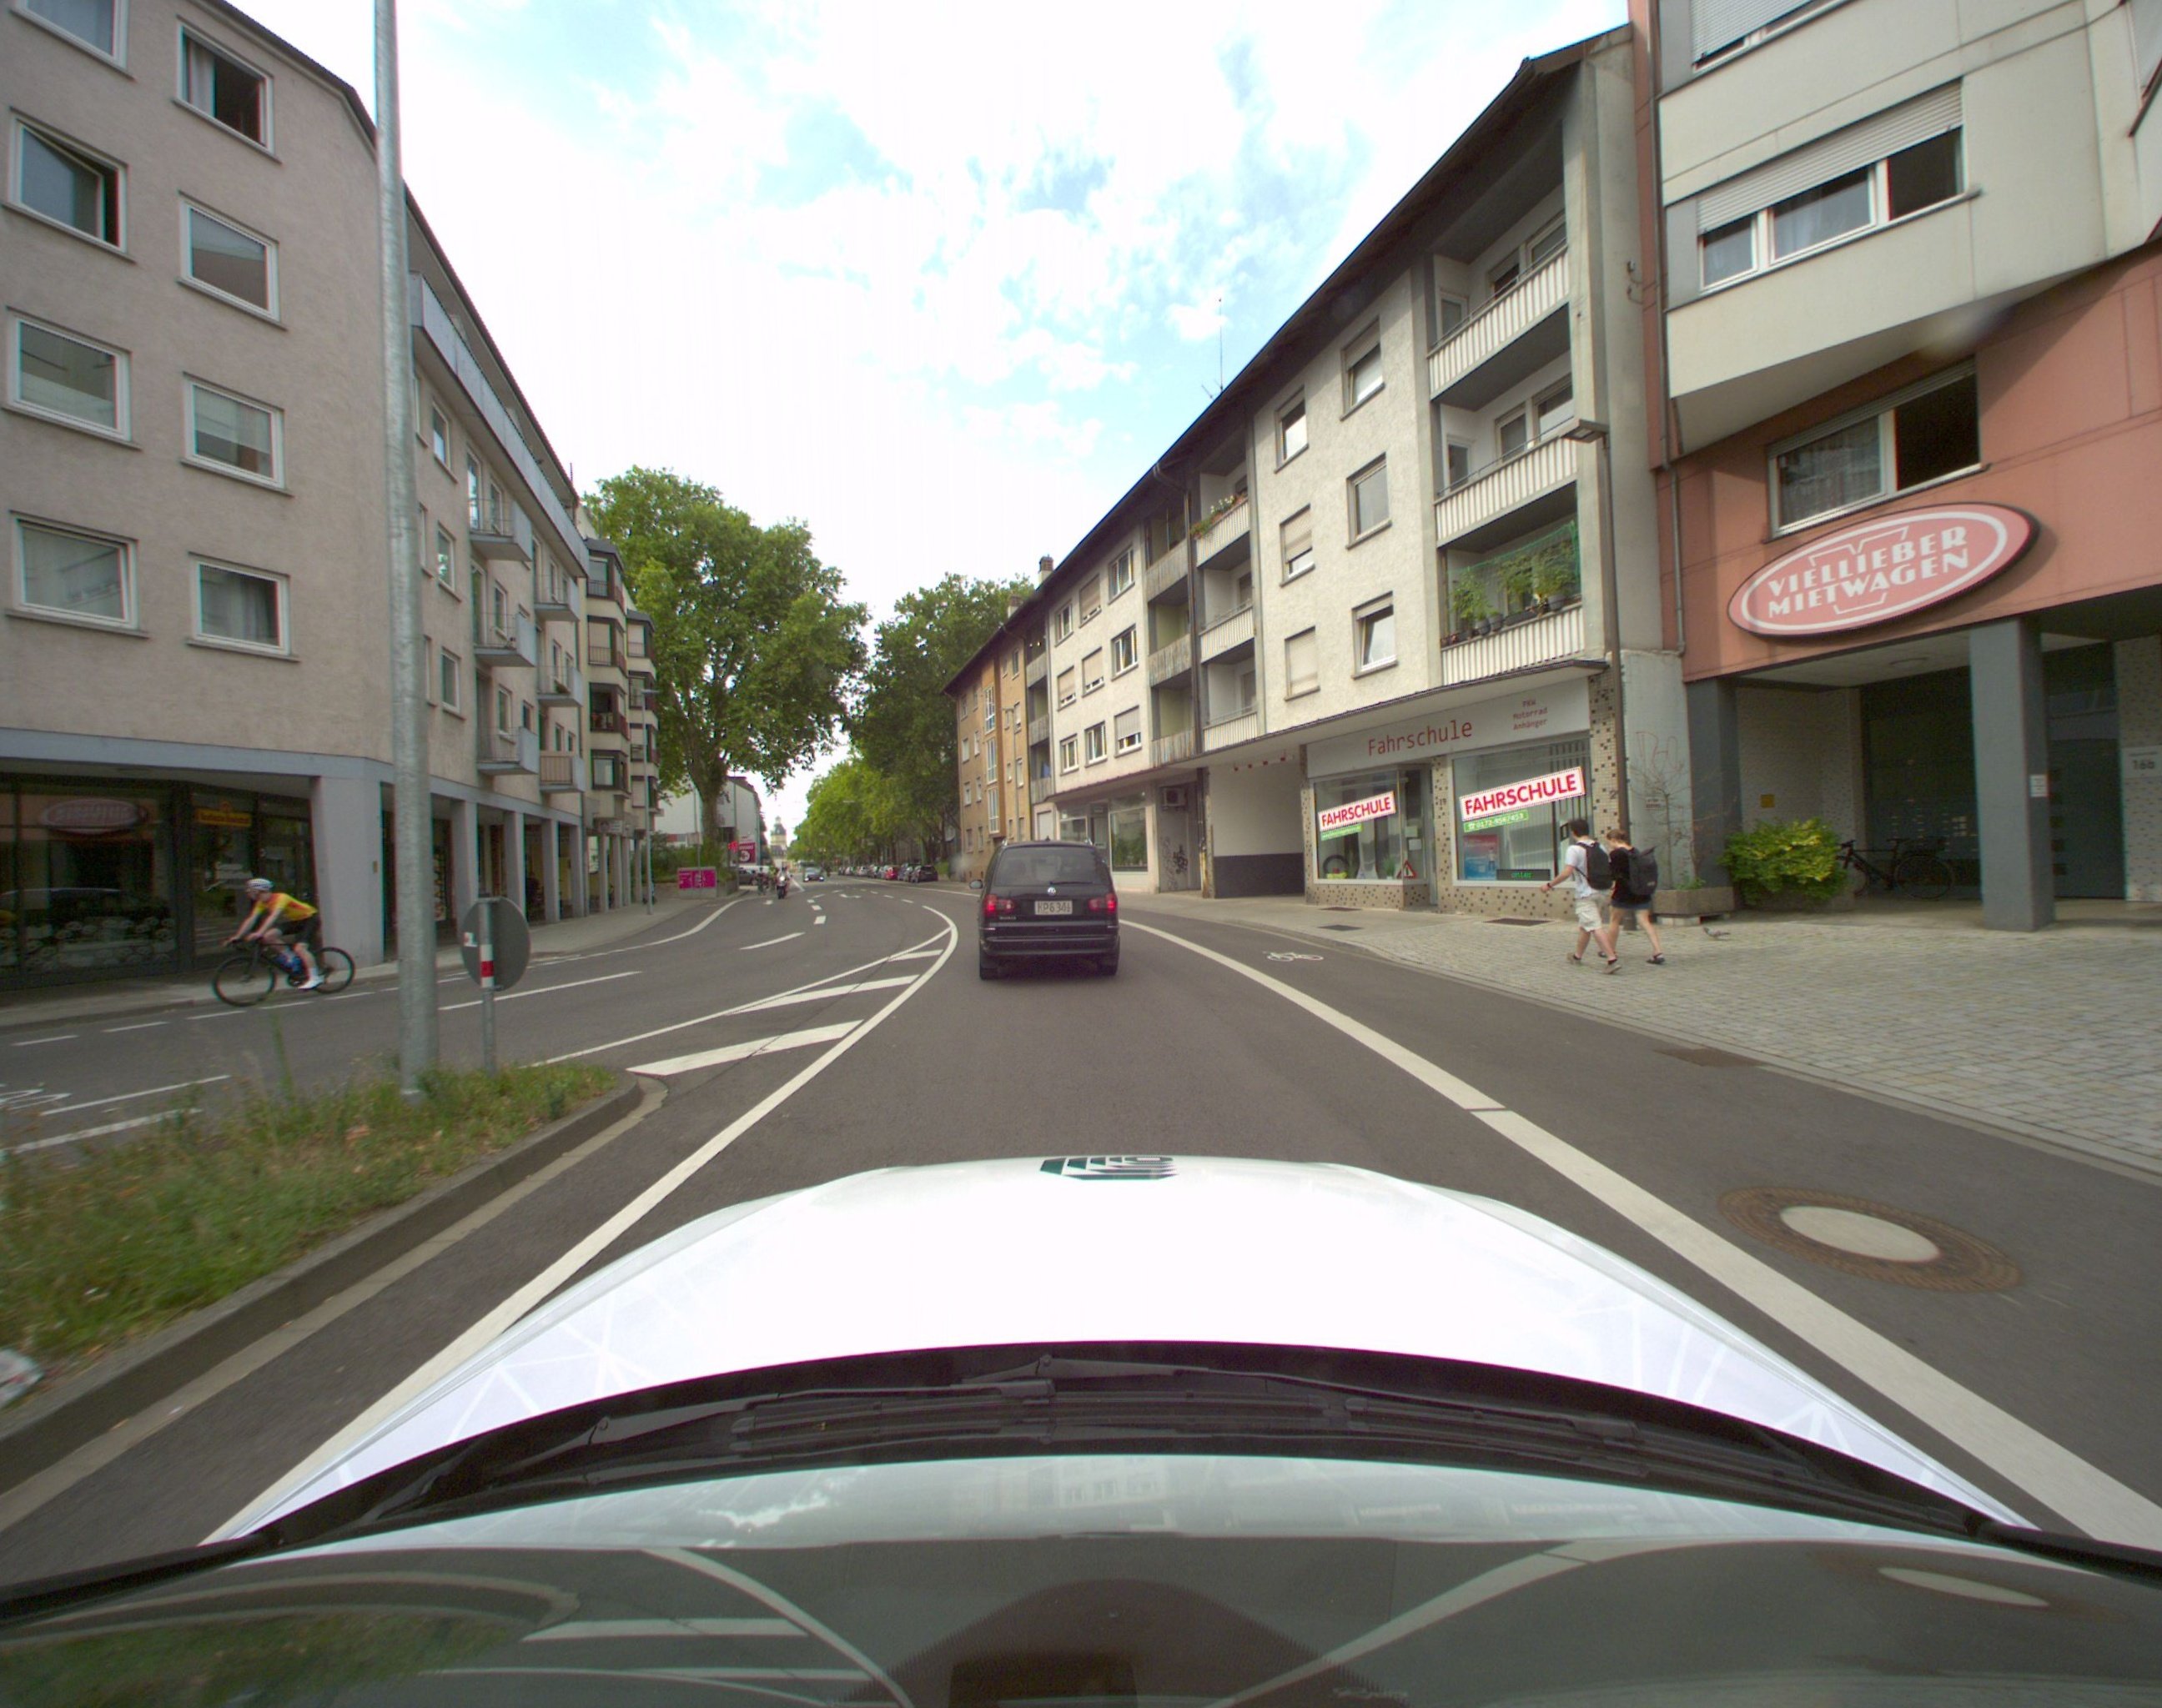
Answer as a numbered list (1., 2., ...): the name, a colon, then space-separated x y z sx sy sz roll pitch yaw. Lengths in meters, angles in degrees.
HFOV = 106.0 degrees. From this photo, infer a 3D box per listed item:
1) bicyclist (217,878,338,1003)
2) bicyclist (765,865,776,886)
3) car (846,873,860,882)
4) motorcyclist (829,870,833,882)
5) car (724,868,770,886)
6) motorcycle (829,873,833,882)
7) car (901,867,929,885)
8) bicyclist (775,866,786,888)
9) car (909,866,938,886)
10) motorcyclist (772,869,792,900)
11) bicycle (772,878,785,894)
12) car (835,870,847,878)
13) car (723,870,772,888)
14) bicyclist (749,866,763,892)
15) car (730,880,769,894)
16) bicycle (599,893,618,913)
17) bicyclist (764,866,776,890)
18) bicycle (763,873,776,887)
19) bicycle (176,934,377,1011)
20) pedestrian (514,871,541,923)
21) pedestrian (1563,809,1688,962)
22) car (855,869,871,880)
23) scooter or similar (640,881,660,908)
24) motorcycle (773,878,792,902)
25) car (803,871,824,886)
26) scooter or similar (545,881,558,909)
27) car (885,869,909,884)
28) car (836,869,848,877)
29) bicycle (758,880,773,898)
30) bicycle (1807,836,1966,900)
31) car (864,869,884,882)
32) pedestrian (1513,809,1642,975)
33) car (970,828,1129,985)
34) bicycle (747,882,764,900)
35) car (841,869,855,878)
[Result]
1. bicyclist: -11.362 1.194 11.538 0.705 1.650 0.977 -3 -1 23
2. bicyclist: -23.551 1.642 61.726 0.658 1.525 1.070 0 0 -16
3. car: -35.405 3.640 126.477 1.649 1.413 3.388 -2 -1 -24
4. motorcyclist: -36.527 3.224 118.833 0.448 1.647 0.516 -2 -1 -20
5. car: -36.412 2.535 89.024 4.541 1.879 2.033 0 -1 -20
6. motorcycle: -36.544 3.441 118.874 0.374 1.350 1.719 -2 -1 -21
7. car: -14.392 1.903 70.445 1.664 1.422 3.919 -2 0 -21
8. bicyclist: -21.573 1.626 58.413 0.658 1.525 0.851 0 0 -16
9. car: -12.784 1.772 66.067 1.664 1.422 3.839 -2 0 -21
10. motorcyclist: -14.870 1.522 40.567 0.798 1.460 0.860 -4 -1 -18
11. bicycle: -21.724 2.296 58.438 0.739 1.007 1.964 0 0 -17
12. car: -41.288 3.420 140.170 1.682 1.394 3.850 -2 -1 -21
13. car: -32.022 2.415 78.297 4.271 1.605 1.955 -1 0 -20
14. bicyclist: -19.670 1.495 49.333 0.658 1.525 0.996 0 0 -16
15. car: -35.081 3.485 86.278 3.696 1.445 1.741 0 -1 -21
16. bicycle: -21.664 2.235 37.341 0.431 0.821 1.608 -2 -1 -20
17. bicyclist: -20.407 1.555 53.478 0.658 1.525 0.836 0 0 -16
18. bicycle: -23.520 1.947 61.473 0.739 1.007 2.182 0 0 -17
19. bicycle: -11.274 1.628 11.518 0.405 0.794 2.008 -3 0 21
20. pedestrian: -19.156 1.467 28.189 0.583 1.757 0.778 0 -2 -21
21. pedestrian: 6.403 0.355 9.610 0.607 1.668 0.937 -6 0 -22
22. car: -29.998 2.812 112.058 1.682 1.394 4.428 -2 -1 -21
23. scooter or similar: -20.868 1.976 39.410 1.161 1.265 0.289 -3 -1 32
24. motorcycle: -14.870 1.799 40.638 0.723 1.094 2.024 -4 0 -17
25. car: -27.303 2.490 83.126 1.817 1.408 4.576 -2 -1 -21
26. scooter or similar: -24.008 1.833 36.926 0.287 1.201 1.167 -2 1 -24
27. car: -18.082 2.223 79.864 1.682 1.394 4.428 -2 -1 -21
28. car: -42.617 3.397 145.298 1.682 1.394 3.850 -2 -1 -21
29. bicycle: -20.481 2.266 52.909 0.739 1.007 2.239 0 0 -16
30. bicycle: 12.177 0.203 12.382 0.454 0.896 1.666 -3 0 -21
31. car: -24.000 2.468 94.305 1.636 1.470 4.286 -2 -1 -21
32. pedestrian: 5.682 0.414 9.356 0.753 1.750 0.855 -6 1 -15
33. car: -0.567 0.626 11.288 1.810 1.766 3.729 -1 -1 -7
34. bicycle: -19.740 2.231 49.374 0.739 1.007 1.899 0 0 -16
35. car: -37.475 3.122 130.766 1.649 1.395 3.484 0 -1 -24
